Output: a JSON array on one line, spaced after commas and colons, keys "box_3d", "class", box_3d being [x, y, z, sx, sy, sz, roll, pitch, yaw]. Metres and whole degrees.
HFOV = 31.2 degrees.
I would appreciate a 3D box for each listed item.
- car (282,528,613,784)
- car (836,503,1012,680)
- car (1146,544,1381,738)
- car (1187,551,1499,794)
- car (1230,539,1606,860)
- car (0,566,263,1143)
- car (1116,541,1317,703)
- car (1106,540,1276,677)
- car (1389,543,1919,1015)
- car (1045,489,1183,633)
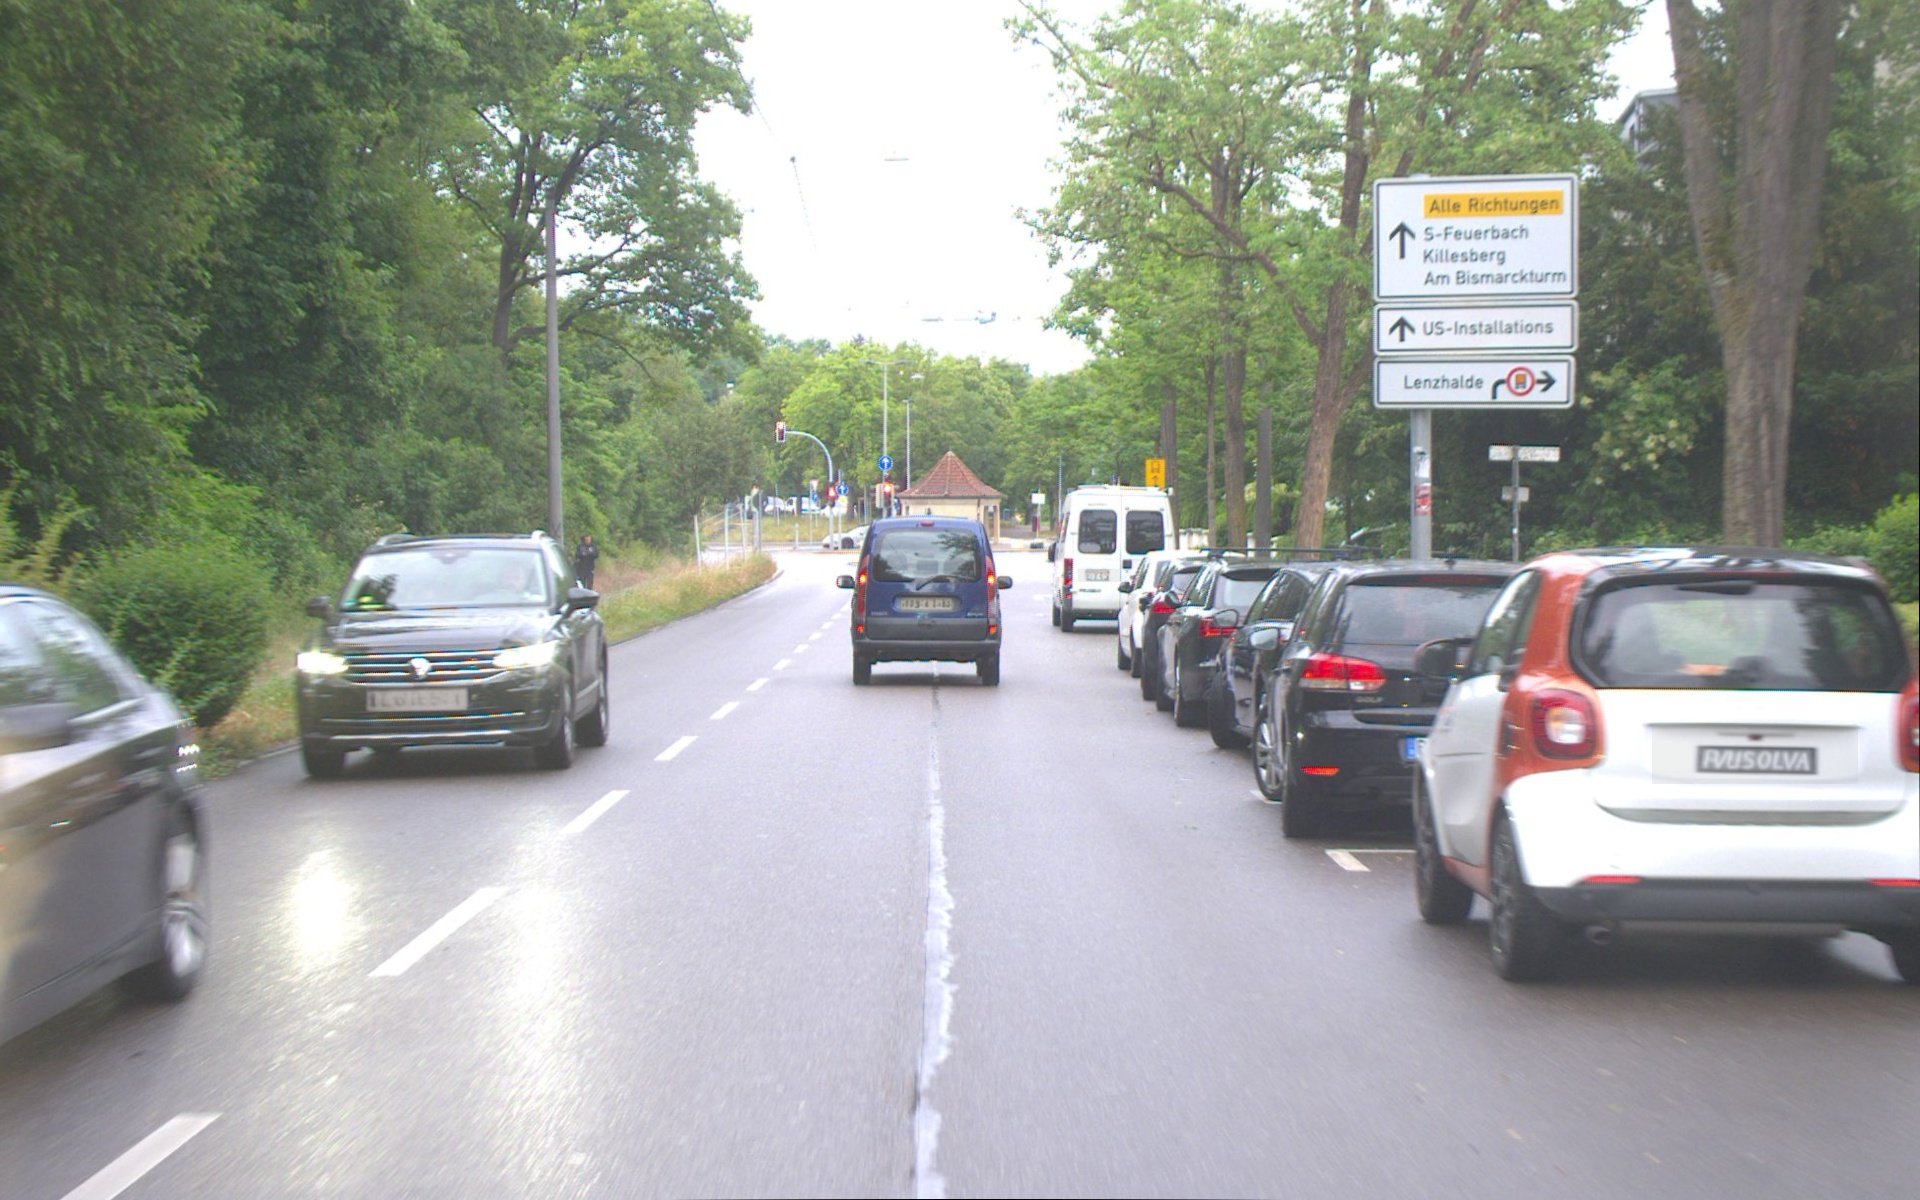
[{"box_3d": [-3.569, 0.325, 24.640, 1.723, 1.610, 4.155, -1, 2, 0], "class": "car"}, {"box_3d": [-0.442, -0.141, 38.256, 1.766, 1.824, 3.543, 1, 2, -3], "class": "car"}, {"box_3d": [2.604, 0.304, 30.288, 1.698, 1.519, 4.211, 1, 1, 1], "class": "car"}, {"box_3d": [2.643, 0.449, 24.516, 1.698, 1.519, 3.868, 1, 1, -1], "class": "car"}, {"box_3d": [2.455, 0.466, 19.255, 1.698, 1.519, 3.867, 2, 2, 2], "class": "car"}, {"box_3d": [-3.407, 0.698, 9.949, 1.728, 1.438, 5.113, -1, 2, 0], "class": "car"}, {"box_3d": [2.599, 0.185, 35.605, 1.698, 1.519, 3.868, 1, 1, -1], "class": "car"}, {"box_3d": [2.742, 0.064, 41.575, 1.698, 1.519, 3.868, 1, 1, -1], "class": "car"}, {"box_3d": [2.676, 0.580, 12.993, 1.633, 1.504, 2.958, 1, 2, -1], "class": "car"}, {"box_3d": [2.661, -0.699, 60.543, 2.205, 2.441, 4.729, 0, 1, 0], "class": "car"}]
